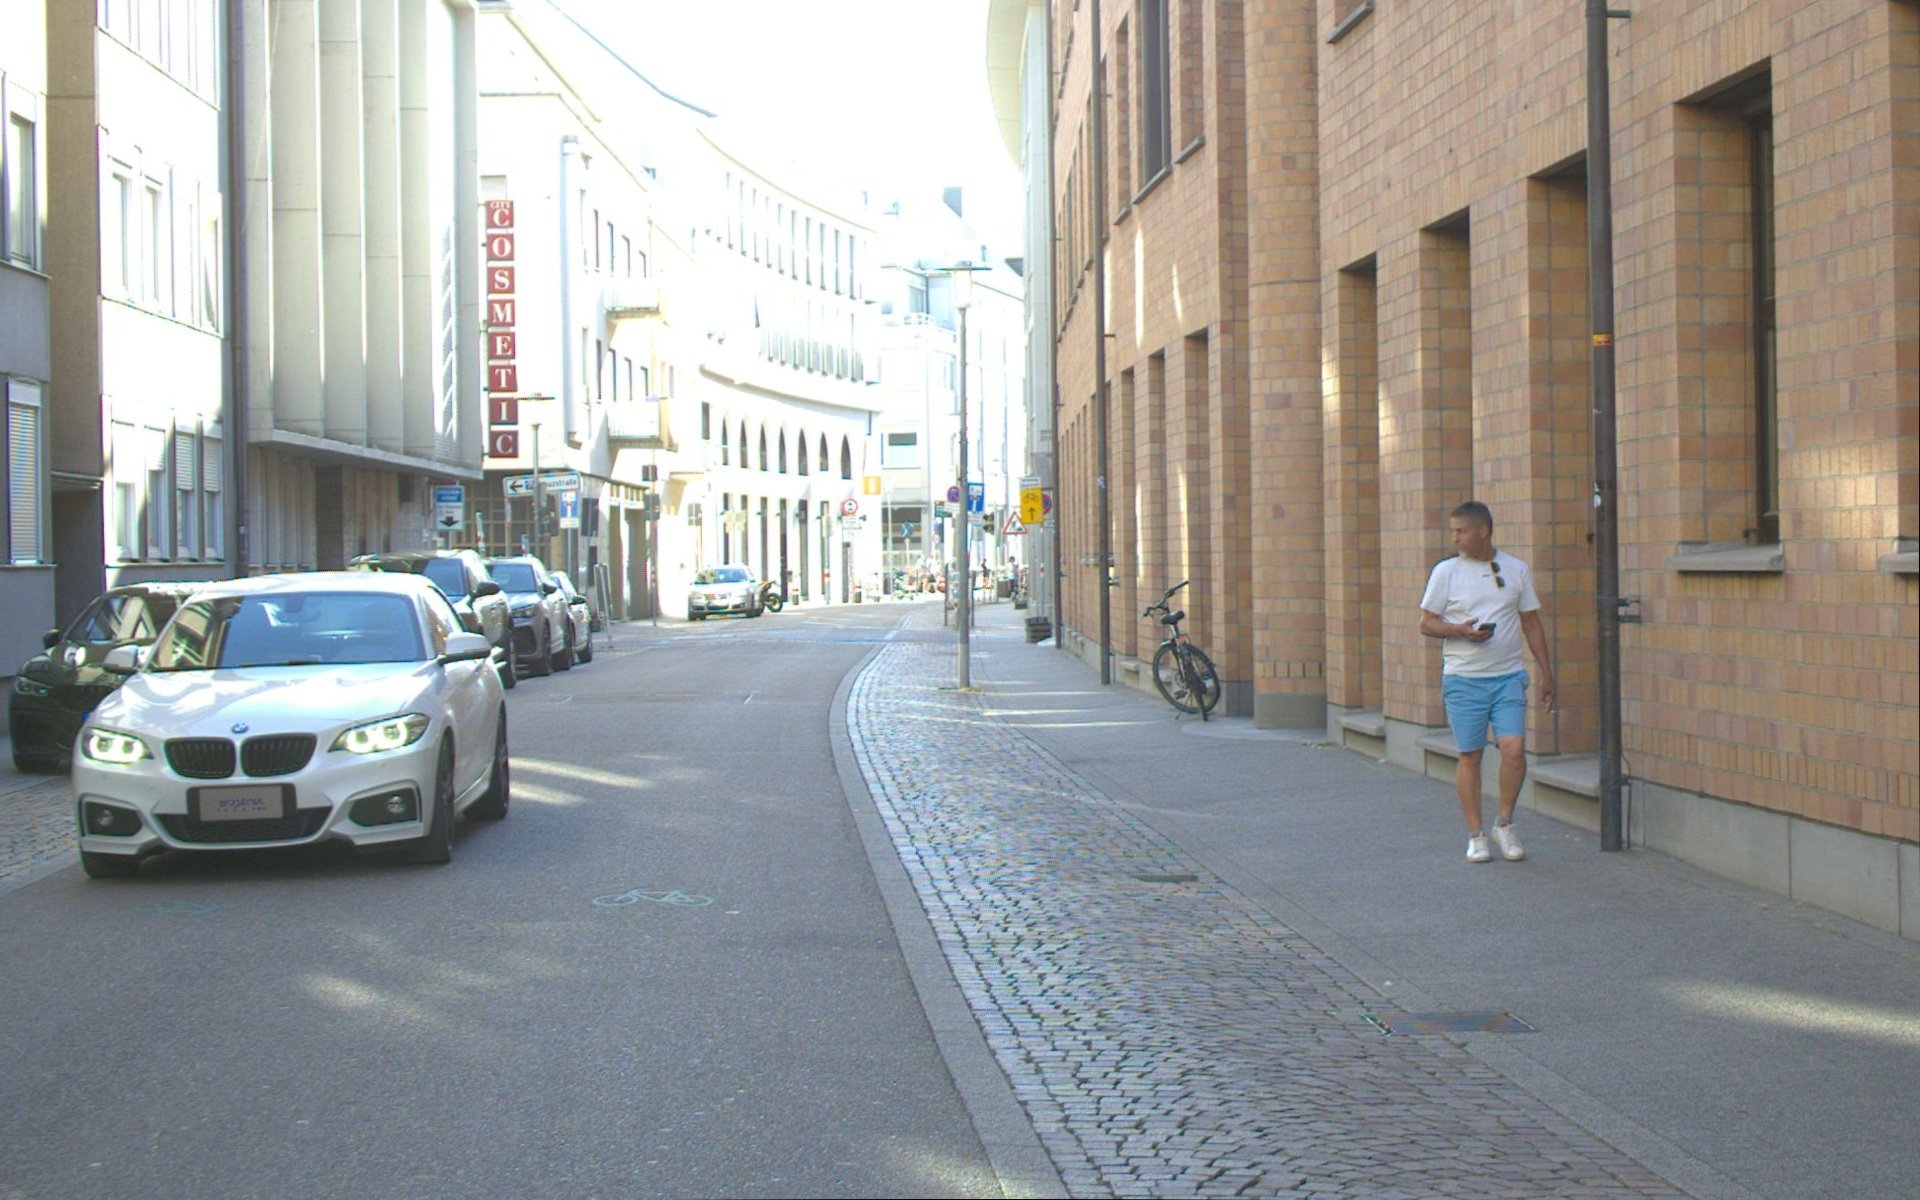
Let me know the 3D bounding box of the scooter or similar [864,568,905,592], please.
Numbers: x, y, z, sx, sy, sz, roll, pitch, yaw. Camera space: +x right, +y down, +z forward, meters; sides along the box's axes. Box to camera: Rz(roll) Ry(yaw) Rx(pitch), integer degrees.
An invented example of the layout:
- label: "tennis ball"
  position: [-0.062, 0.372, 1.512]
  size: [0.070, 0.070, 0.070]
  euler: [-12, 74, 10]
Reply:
- label: "scooter or similar"
  position: [-2.971, -0.781, 134.846]
  size: [0.526, 0.925, 2.224]
  euler: [1, 1, 30]

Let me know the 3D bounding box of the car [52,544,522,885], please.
- label: "car"
  position: [-3.328, 0.486, 17.727]
  size: [1.714, 1.512, 4.160]
  euler: [-1, 1, -2]

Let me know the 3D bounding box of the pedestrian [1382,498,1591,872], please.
- label: "pedestrian"
  position: [2.509, 0.390, 16.451]
  size: [0.760, 1.710, 0.821]
  euler: [-3, 1, -4]

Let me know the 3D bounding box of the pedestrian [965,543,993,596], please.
- label: "pedestrian"
  position: [0.661, -1.082, 121.214]
  size: [0.659, 1.862, 0.761]
  euler: [1, 0, -30]

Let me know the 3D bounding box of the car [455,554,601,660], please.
- label: "car"
  position: [-6.525, 0.077, 52.285]
  size: [1.648, 1.455, 3.999]
  euler: [-3, 1, 0]

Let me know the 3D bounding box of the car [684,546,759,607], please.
- label: "car"
  position: [-6.420, -0.662, 92.700]
  size: [1.736, 1.600, 3.533]
  euler: [0, 1, 1]

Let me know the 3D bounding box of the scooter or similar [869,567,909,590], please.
- label: "scooter or similar"
  position: [-2.858, -0.878, 138.668]
  size: [0.526, 0.925, 2.224]
  euler: [1, 1, 30]

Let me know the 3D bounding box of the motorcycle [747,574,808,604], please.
- label: "motorcycle"
  position: [-5.331, -0.316, 100.400]
  size: [1.691, 0.856, 0.594]
  euler: [1, 0, 5]

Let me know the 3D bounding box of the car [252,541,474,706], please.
- label: "car"
  position: [-6.477, 0.202, 37.724]
  size: [1.890, 1.670, 4.554]
  euler: [-1, 1, -4]

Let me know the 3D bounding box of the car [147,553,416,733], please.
- label: "car"
  position: [-6.268, 0.343, 32.195]
  size: [1.890, 1.525, 4.340]
  euler: [-1, 1, -4]

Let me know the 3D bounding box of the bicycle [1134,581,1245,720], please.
- label: "bicycle"
  position: [1.958, 0.414, 29.546]
  size: [0.549, 1.099, 1.982]
  euler: [-4, 1, -6]

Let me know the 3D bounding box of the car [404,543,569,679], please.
- label: "car"
  position: [-6.426, 0.100, 47.061]
  size: [1.889, 1.736, 4.391]
  euler: [-1, 1, -4]

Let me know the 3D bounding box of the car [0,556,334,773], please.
- label: "car"
  position: [-6.238, 0.440, 27.415]
  size: [1.890, 1.525, 4.729]
  euler: [-1, 1, -4]

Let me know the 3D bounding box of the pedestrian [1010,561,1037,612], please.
- label: "pedestrian"
  position: [2.340, -0.485, 126.431]
  size: [0.659, 1.862, 0.786]
  euler: [1, 0, -30]

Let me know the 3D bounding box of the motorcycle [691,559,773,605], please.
- label: "motorcycle"
  position: [-6.871, -0.537, 103.623]
  size: [2.390, 1.312, 0.862]
  euler: [-2, 1, 0]
